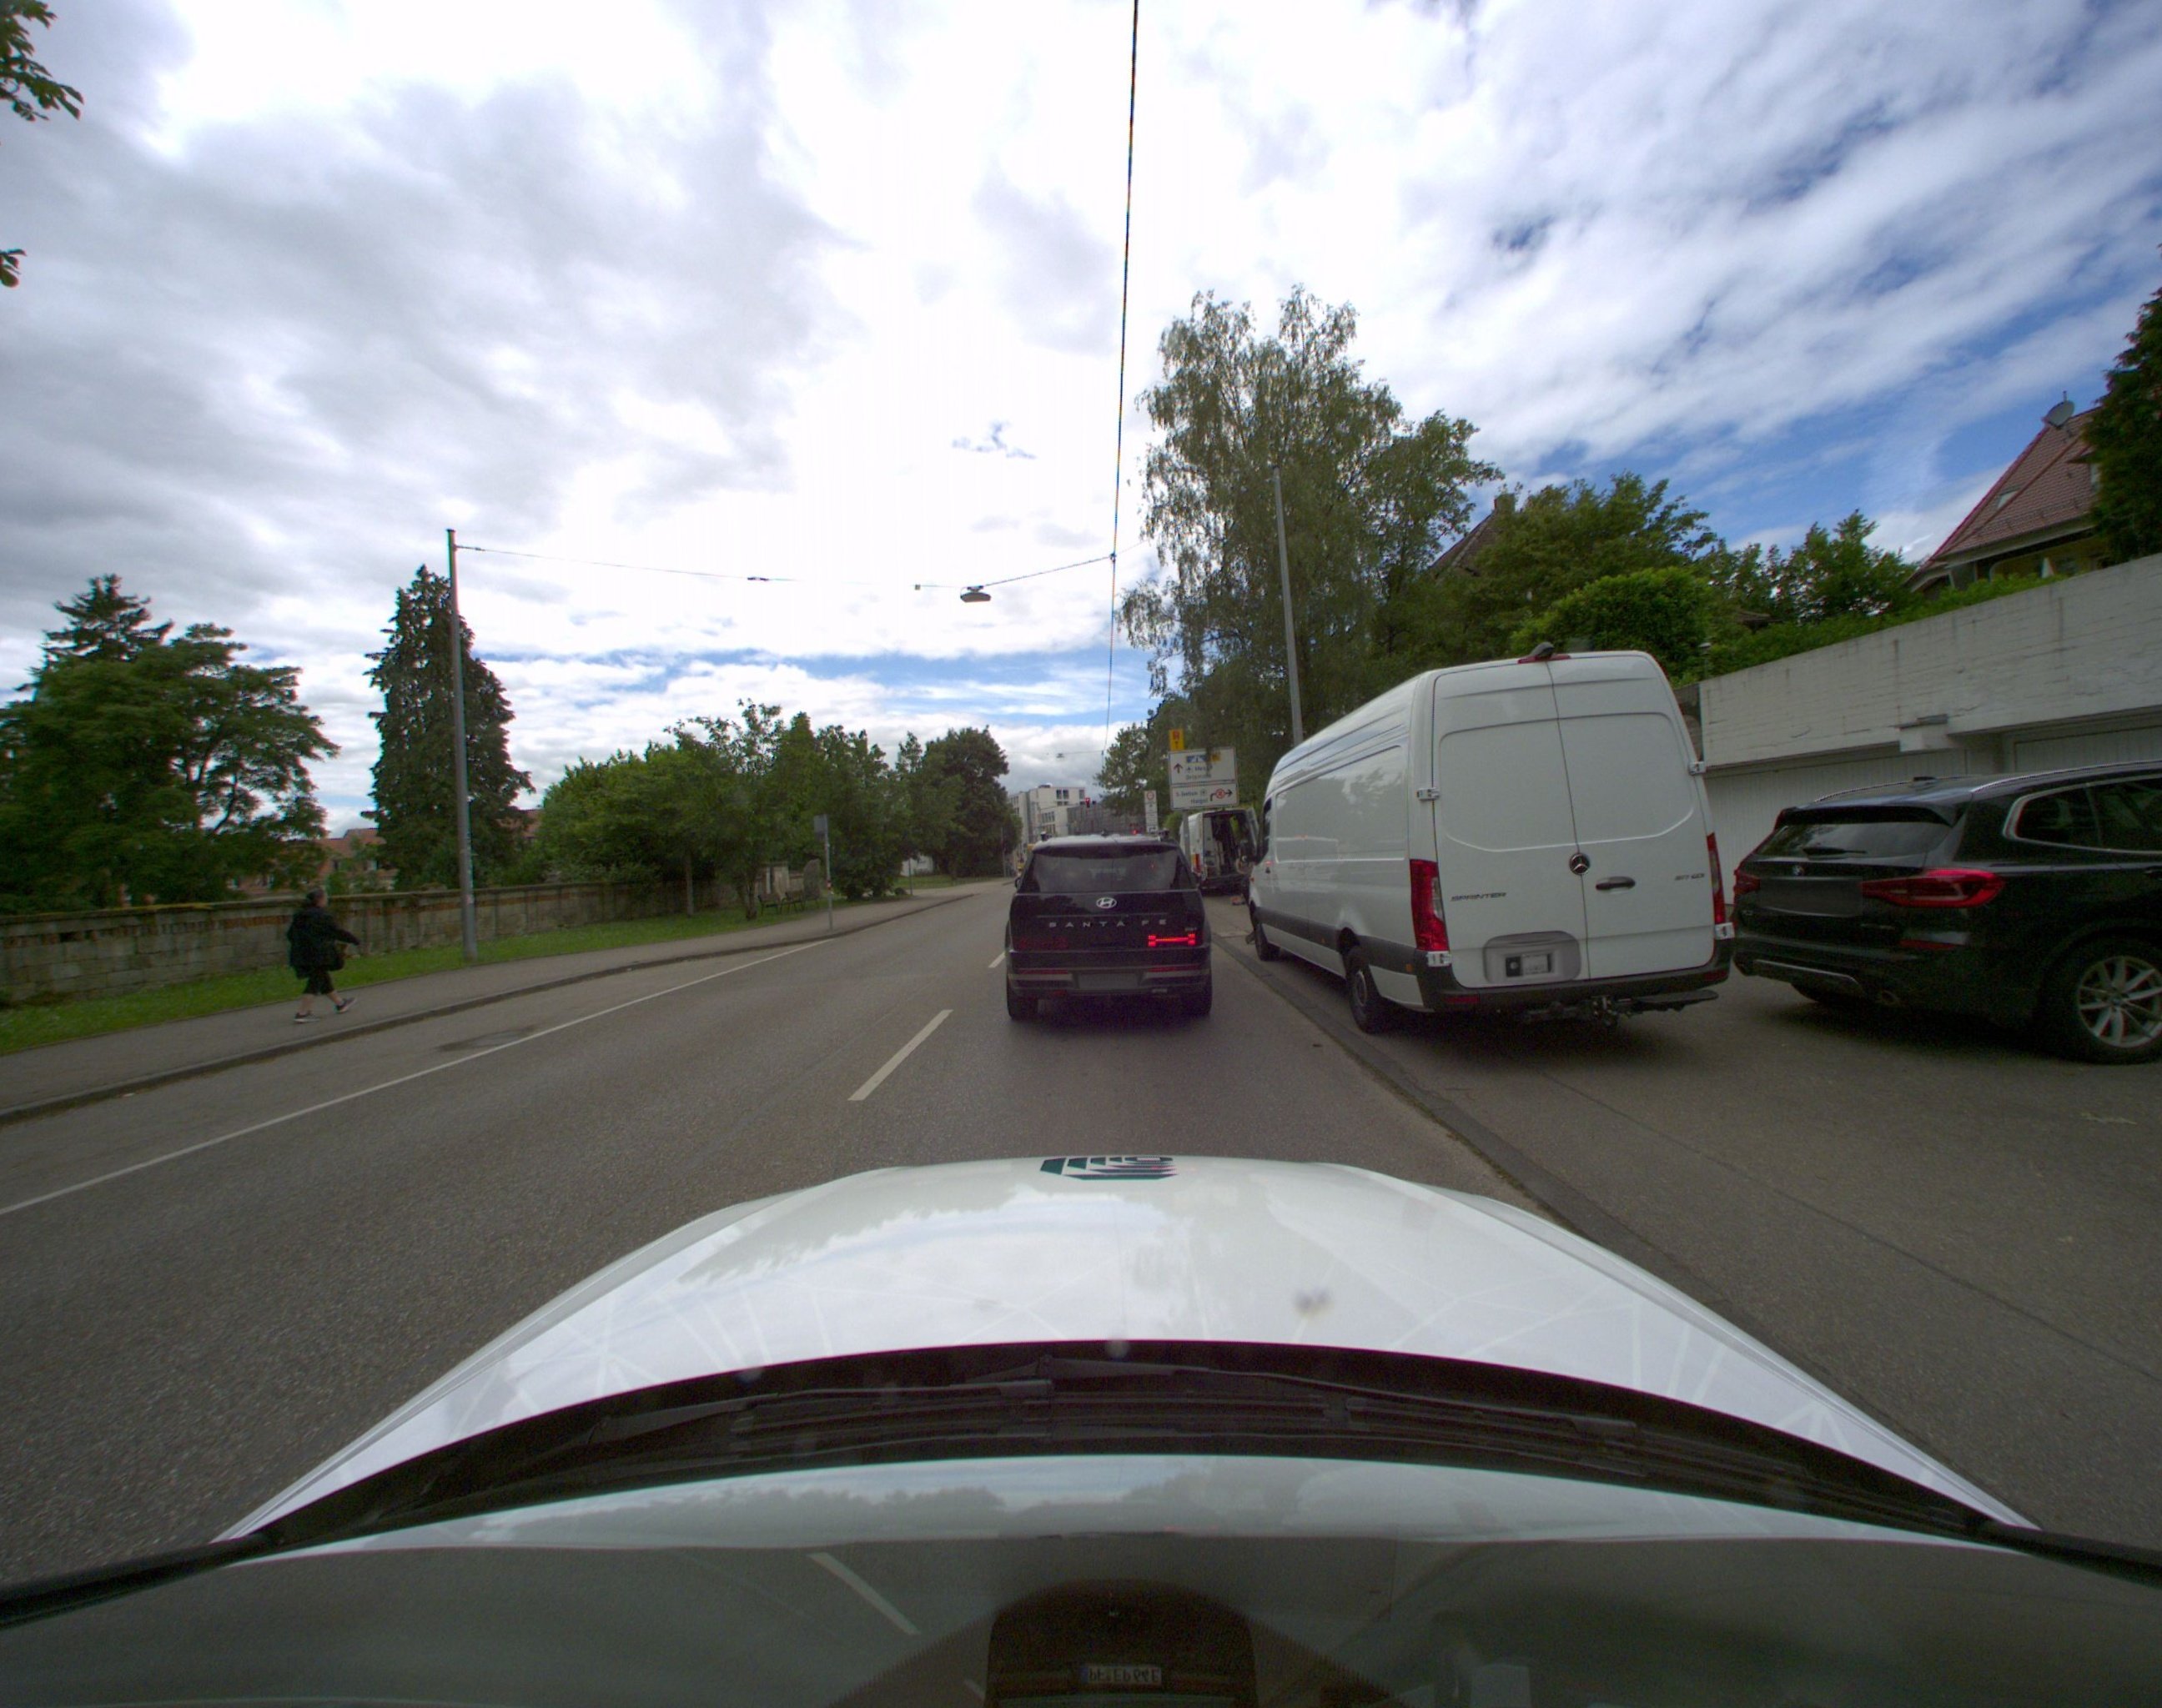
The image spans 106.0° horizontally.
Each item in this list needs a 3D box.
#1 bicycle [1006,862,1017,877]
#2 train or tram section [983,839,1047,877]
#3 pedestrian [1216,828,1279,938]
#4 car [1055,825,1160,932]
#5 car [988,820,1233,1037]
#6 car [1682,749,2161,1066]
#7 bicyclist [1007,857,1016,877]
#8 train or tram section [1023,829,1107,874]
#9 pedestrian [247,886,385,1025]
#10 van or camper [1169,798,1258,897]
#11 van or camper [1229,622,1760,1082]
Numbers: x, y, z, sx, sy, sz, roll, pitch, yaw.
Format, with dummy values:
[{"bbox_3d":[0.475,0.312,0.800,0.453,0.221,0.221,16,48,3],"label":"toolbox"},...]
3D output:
[{"bbox_3d":[-6.023,1.360,70.526,0.675,1.279,2.490,-1,-2,-12],"label":"bicycle"},{"bbox_3d":[-9.586,0.707,113.849,3.207,4.523,18.537,-1,-2,-23],"label":"train or tram section"},{"bbox_3d":[2.769,0.476,13.578,0.620,1.743,0.601,-6,-1,-21],"label":"pedestrian"},{"bbox_3d":[0.549,0.472,17.677,1.957,2.001,4.001,-2,0,1],"label":"car"},{"bbox_3d":[0.278,0.611,8.693,1.957,1.711,4.001,-2,0,1],"label":"car"},{"bbox_3d":[6.852,0.191,5.319,4.376,1.652,1.831,-4,0,2],"label":"car"},{"bbox_3d":[-6.026,1.123,70.564,0.676,1.659,0.855,-1,-2,-12],"label":"bicyclist"},{"bbox_3d":[-2.298,-0.064,96.776,3.207,4.523,18.537,-1,-2,-23],"label":"train or tram section"},{"bbox_3d":[-9.439,1.221,10.091,0.746,1.578,0.967,-2,0,1],"label":"pedestrian"},{"bbox_3d":[4.243,-0.193,26.961,1.957,2.797,5.288,-5,0,1],"label":"van or camper"},{"bbox_3d":[3.095,-0.009,8.145,1.957,2.627,6.359,-5,0,1],"label":"van or camper"}]
